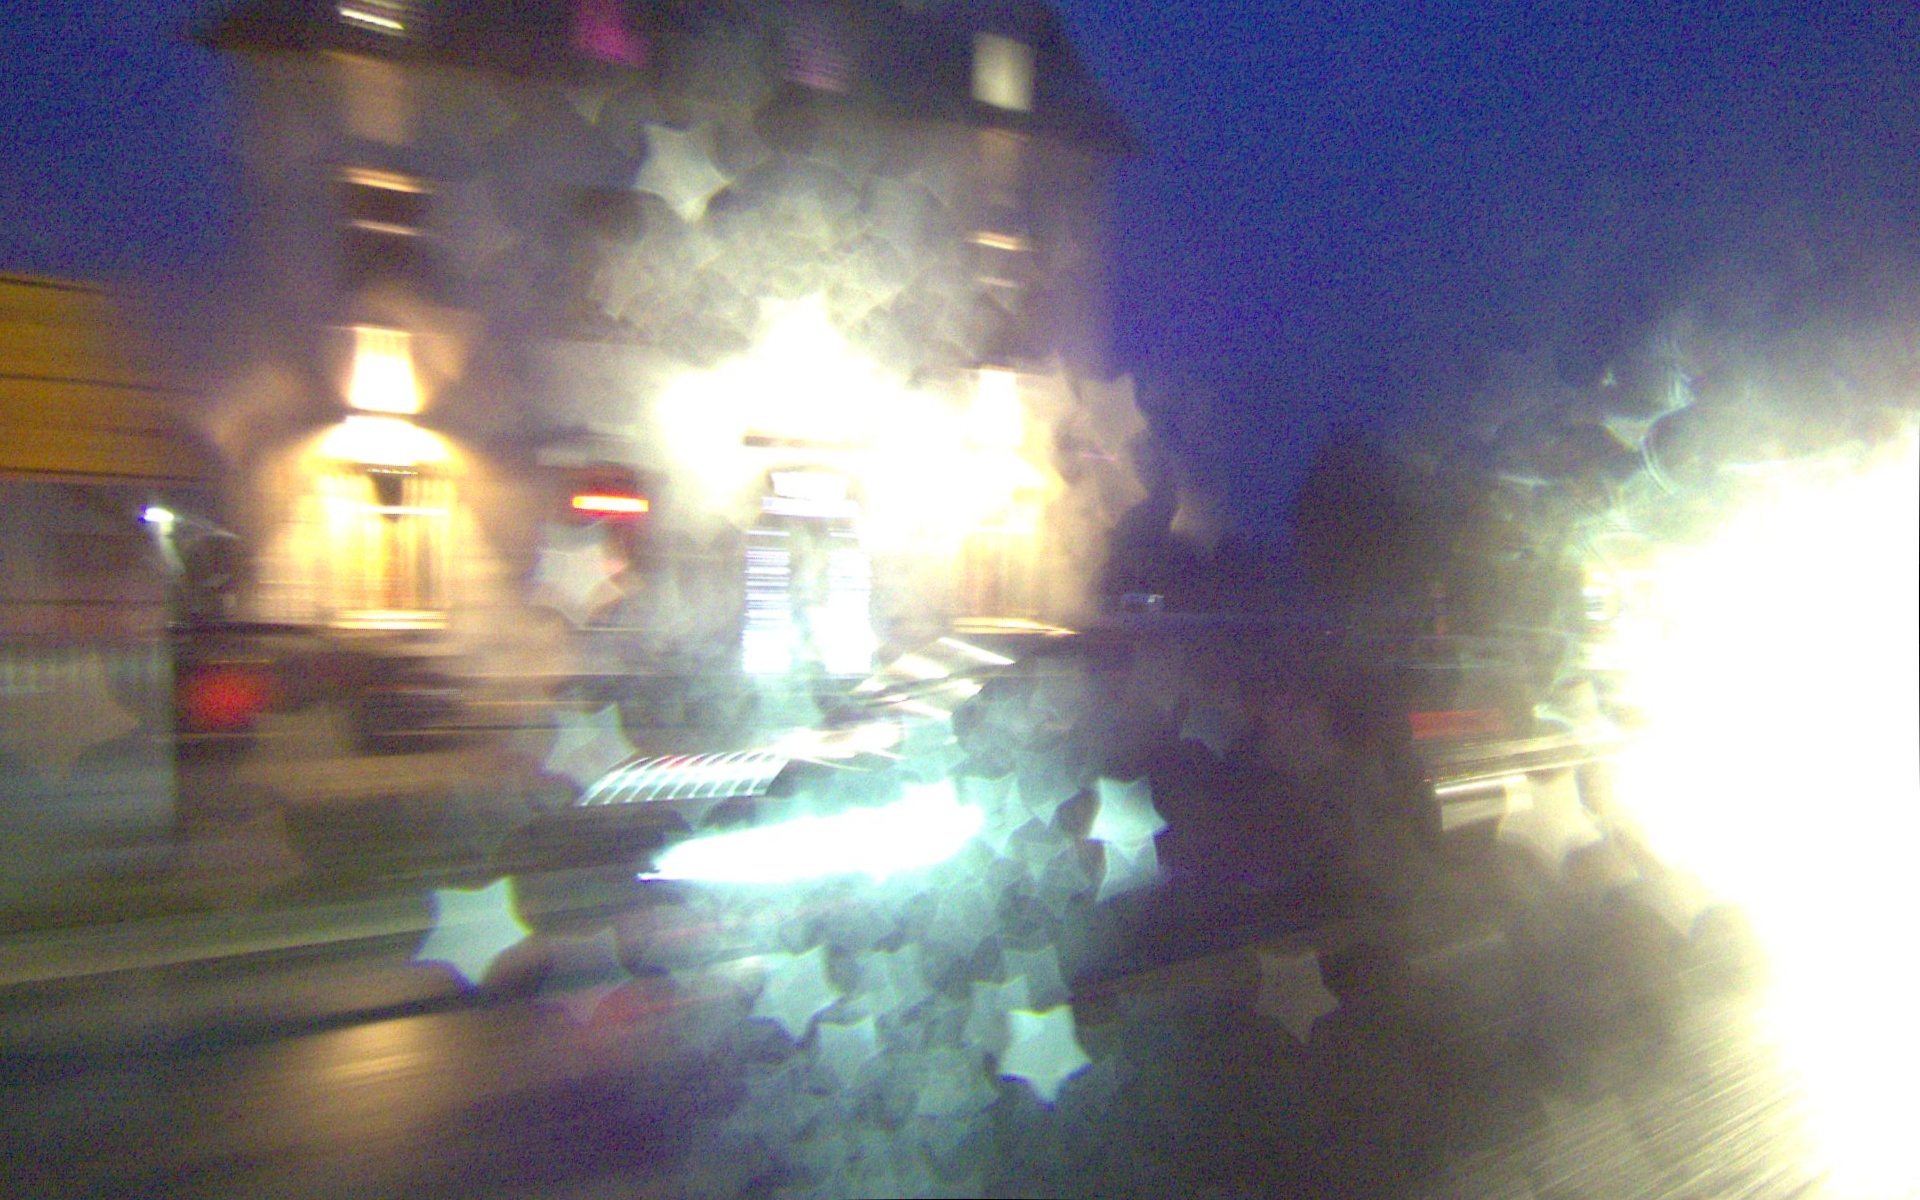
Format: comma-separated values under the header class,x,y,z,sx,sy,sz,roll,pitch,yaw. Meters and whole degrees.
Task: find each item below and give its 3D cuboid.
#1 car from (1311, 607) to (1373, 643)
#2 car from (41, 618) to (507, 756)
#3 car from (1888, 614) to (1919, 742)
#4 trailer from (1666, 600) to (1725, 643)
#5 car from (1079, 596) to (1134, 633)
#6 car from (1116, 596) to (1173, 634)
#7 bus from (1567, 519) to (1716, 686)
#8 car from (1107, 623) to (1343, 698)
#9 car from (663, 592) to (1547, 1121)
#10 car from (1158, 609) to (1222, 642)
class,x,y,z,sx,sy,sz,roll,pitch,yaw
car,19.576,1.273,51.330,1.910,1.719,4.614,2,0,34
car,-7.652,0.949,11.650,4.078,1.416,1.690,0,-3,-13
car,14.020,1.000,13.395,3.763,1.621,1.684,0,0,-35
trailer,32.239,0.907,43.976,1.791,1.699,4.081,-3,-1,40
car,8.819,0.878,60.143,1.734,2.083,3.991,2,0,32
car,10.843,0.869,58.845,1.965,2.083,3.991,2,0,32
bus,19.811,0.088,29.886,2.851,3.920,13.031,1,0,31
car,5.703,1.306,21.700,4.661,1.394,1.843,2,0,-18
car,0.788,0.757,4.618,3.826,1.496,1.703,1,1,-32
car,13.018,1.452,56.616,1.910,1.719,4.614,2,0,34
